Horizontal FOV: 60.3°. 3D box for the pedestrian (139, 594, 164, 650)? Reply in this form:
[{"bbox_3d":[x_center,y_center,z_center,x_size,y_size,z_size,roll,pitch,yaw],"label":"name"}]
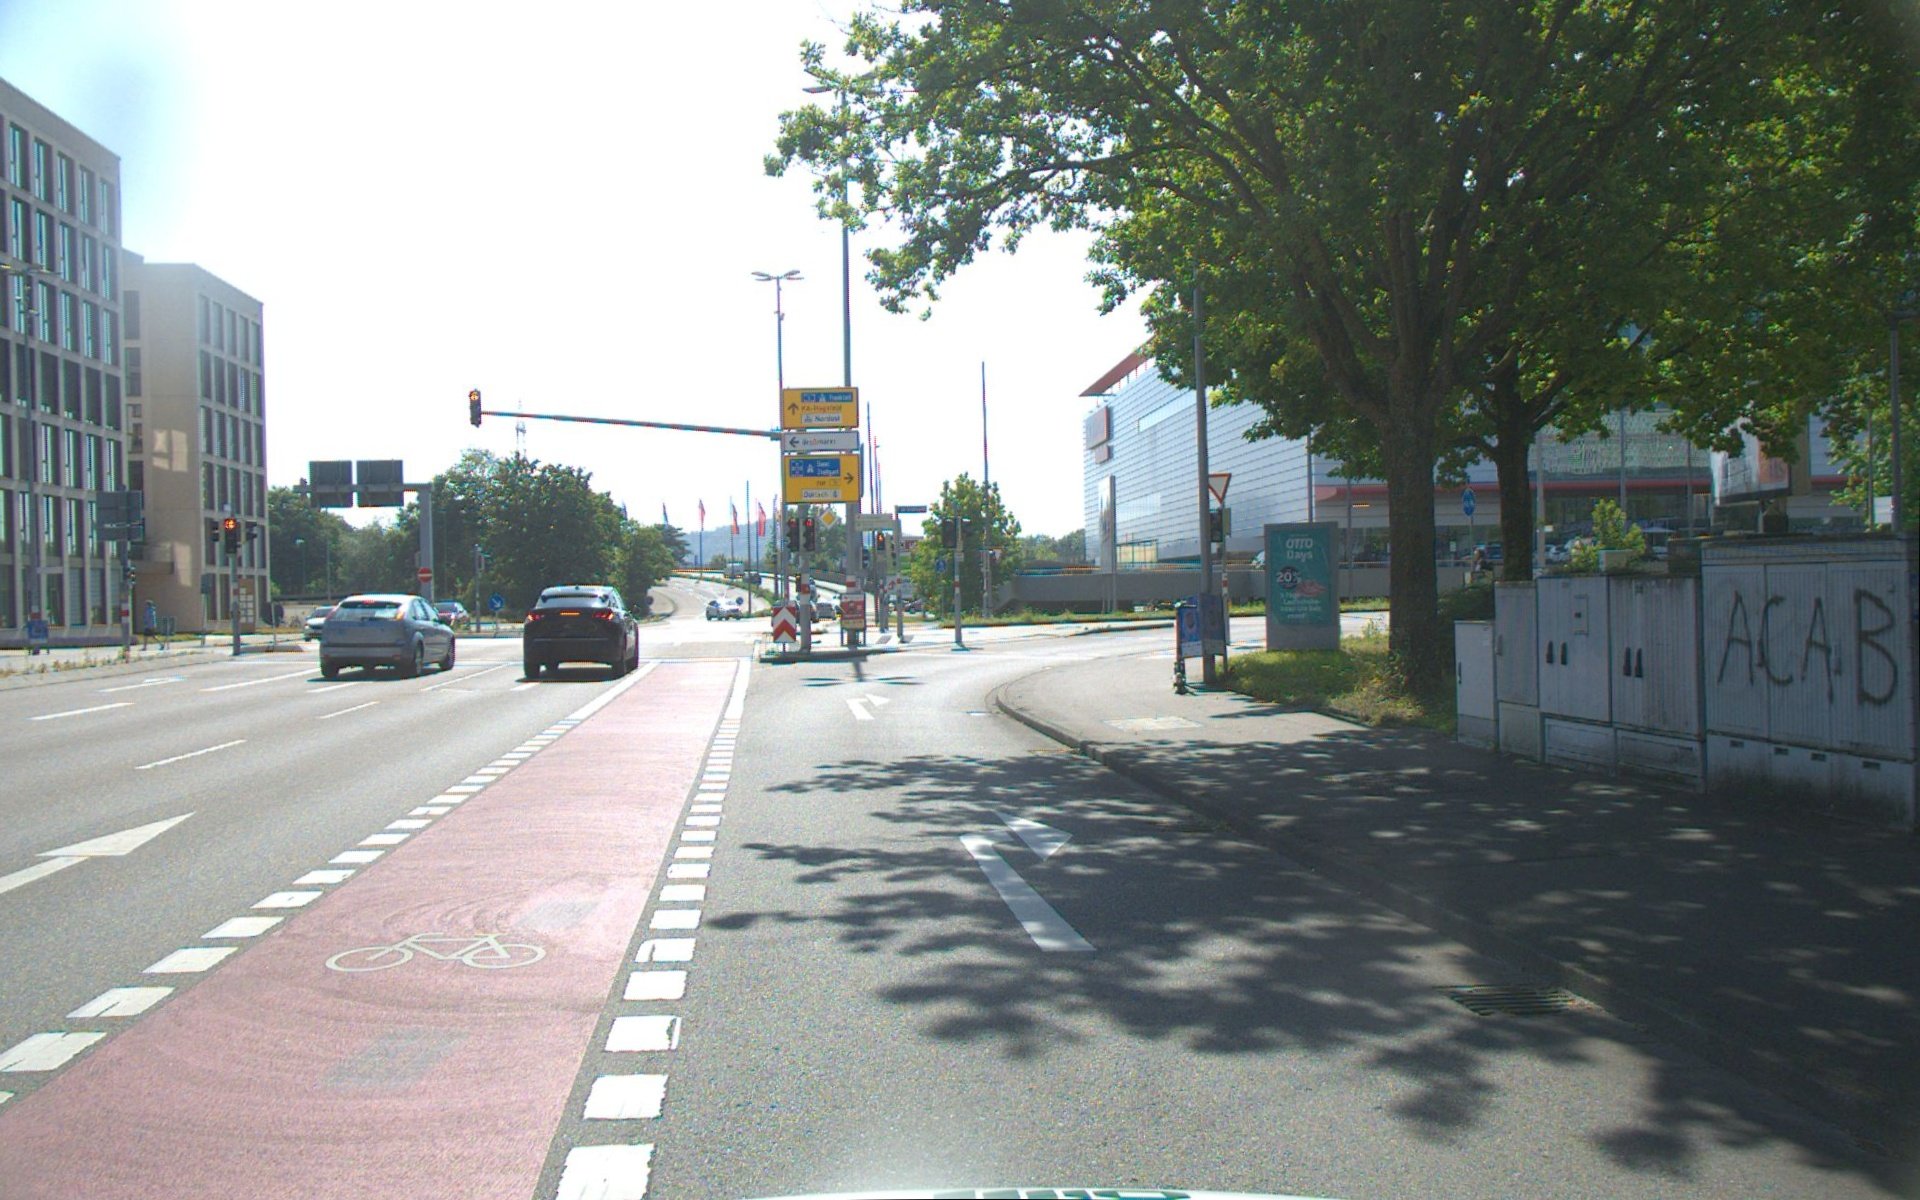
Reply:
[{"bbox_3d":[-30.499,0.816,62.391,0.748,2.048,0.924,0,1,-31],"label":"pedestrian"}]

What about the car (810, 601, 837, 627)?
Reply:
[{"bbox_3d":[-10.353,1.058,125.867,1.724,1.825,3.347,-2,0,0],"label":"car"}]

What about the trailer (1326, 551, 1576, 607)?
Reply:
[{"bbox_3d":[23.624,-1.030,79.733,11.638,2.512,1.998,1,1,-5],"label":"trailer"}]

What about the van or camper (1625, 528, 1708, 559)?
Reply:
[{"bbox_3d":[48.257,-3.858,113.025,4.889,2.048,1.997,1,1,-8],"label":"van or camper"}]

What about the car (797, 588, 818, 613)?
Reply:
[{"bbox_3d":[-14.856,0.009,161.485,1.954,2.362,3.997,1,1,-5],"label":"car"}]

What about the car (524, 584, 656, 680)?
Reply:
[{"bbox_3d":[-7.037,0.554,31.882,1.771,1.668,4.455,-2,0,-4],"label":"car"}]

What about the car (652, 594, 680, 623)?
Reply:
[{"bbox_3d":[-19.324,0.519,108.667,1.725,1.789,3.595,1,1,-9],"label":"car"}]

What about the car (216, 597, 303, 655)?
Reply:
[{"bbox_3d":[-17.665,0.636,41.770,1.191,1.354,2.797,1,1,-5],"label":"car"}]

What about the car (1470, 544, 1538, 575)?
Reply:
[{"bbox_3d":[36.980,-2.743,112.439,3.912,2.048,1.997,1,1,-8],"label":"car"}]

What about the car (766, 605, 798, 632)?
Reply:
[{"bbox_3d":[-10.128,1.059,94.125,1.656,1.382,3.997,1,1,-5],"label":"car"}]

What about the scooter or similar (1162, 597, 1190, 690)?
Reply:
[{"bbox_3d":[3.028,0.593,23.216,0.344,1.255,1.312,-2,0,7],"label":"scooter or similar"}]

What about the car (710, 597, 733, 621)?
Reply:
[{"bbox_3d":[-19.111,0.721,132.530,1.727,1.825,3.341,-2,0,-8],"label":"car"}]

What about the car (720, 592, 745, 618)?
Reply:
[{"bbox_3d":[-19.268,0.407,140.255,1.955,2.048,3.976,1,1,-6],"label":"car"}]

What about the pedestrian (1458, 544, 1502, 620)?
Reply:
[{"bbox_3d":[12.470,-0.431,39.667,0.617,1.801,0.801,-2,0,-17],"label":"pedestrian"}]

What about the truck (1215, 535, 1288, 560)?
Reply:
[{"bbox_3d":[24.973,-4.520,141.738,5.793,2.048,1.999,1,1,-4],"label":"truck"}]

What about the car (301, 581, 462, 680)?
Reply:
[{"bbox_3d":[-10.953,0.537,31.598,1.955,1.713,3.995,-2,0,-6],"label":"car"}]

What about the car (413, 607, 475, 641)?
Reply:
[{"bbox_3d":[-24.603,1.118,78.953,1.779,1.489,3.998,-2,0,-2],"label":"car"}]

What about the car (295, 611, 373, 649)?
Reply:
[{"bbox_3d":[-26.643,1.255,70.515,1.854,1.489,3.998,-2,0,-2],"label":"car"}]

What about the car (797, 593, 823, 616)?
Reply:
[{"bbox_3d":[-9.966,0.294,109.883,1.656,1.382,3.997,1,1,-5],"label":"car"}]

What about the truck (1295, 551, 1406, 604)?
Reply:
[{"bbox_3d":[18.690,-1.085,79.271,4.785,2.466,1.998,1,1,-5],"label":"truck"}]
